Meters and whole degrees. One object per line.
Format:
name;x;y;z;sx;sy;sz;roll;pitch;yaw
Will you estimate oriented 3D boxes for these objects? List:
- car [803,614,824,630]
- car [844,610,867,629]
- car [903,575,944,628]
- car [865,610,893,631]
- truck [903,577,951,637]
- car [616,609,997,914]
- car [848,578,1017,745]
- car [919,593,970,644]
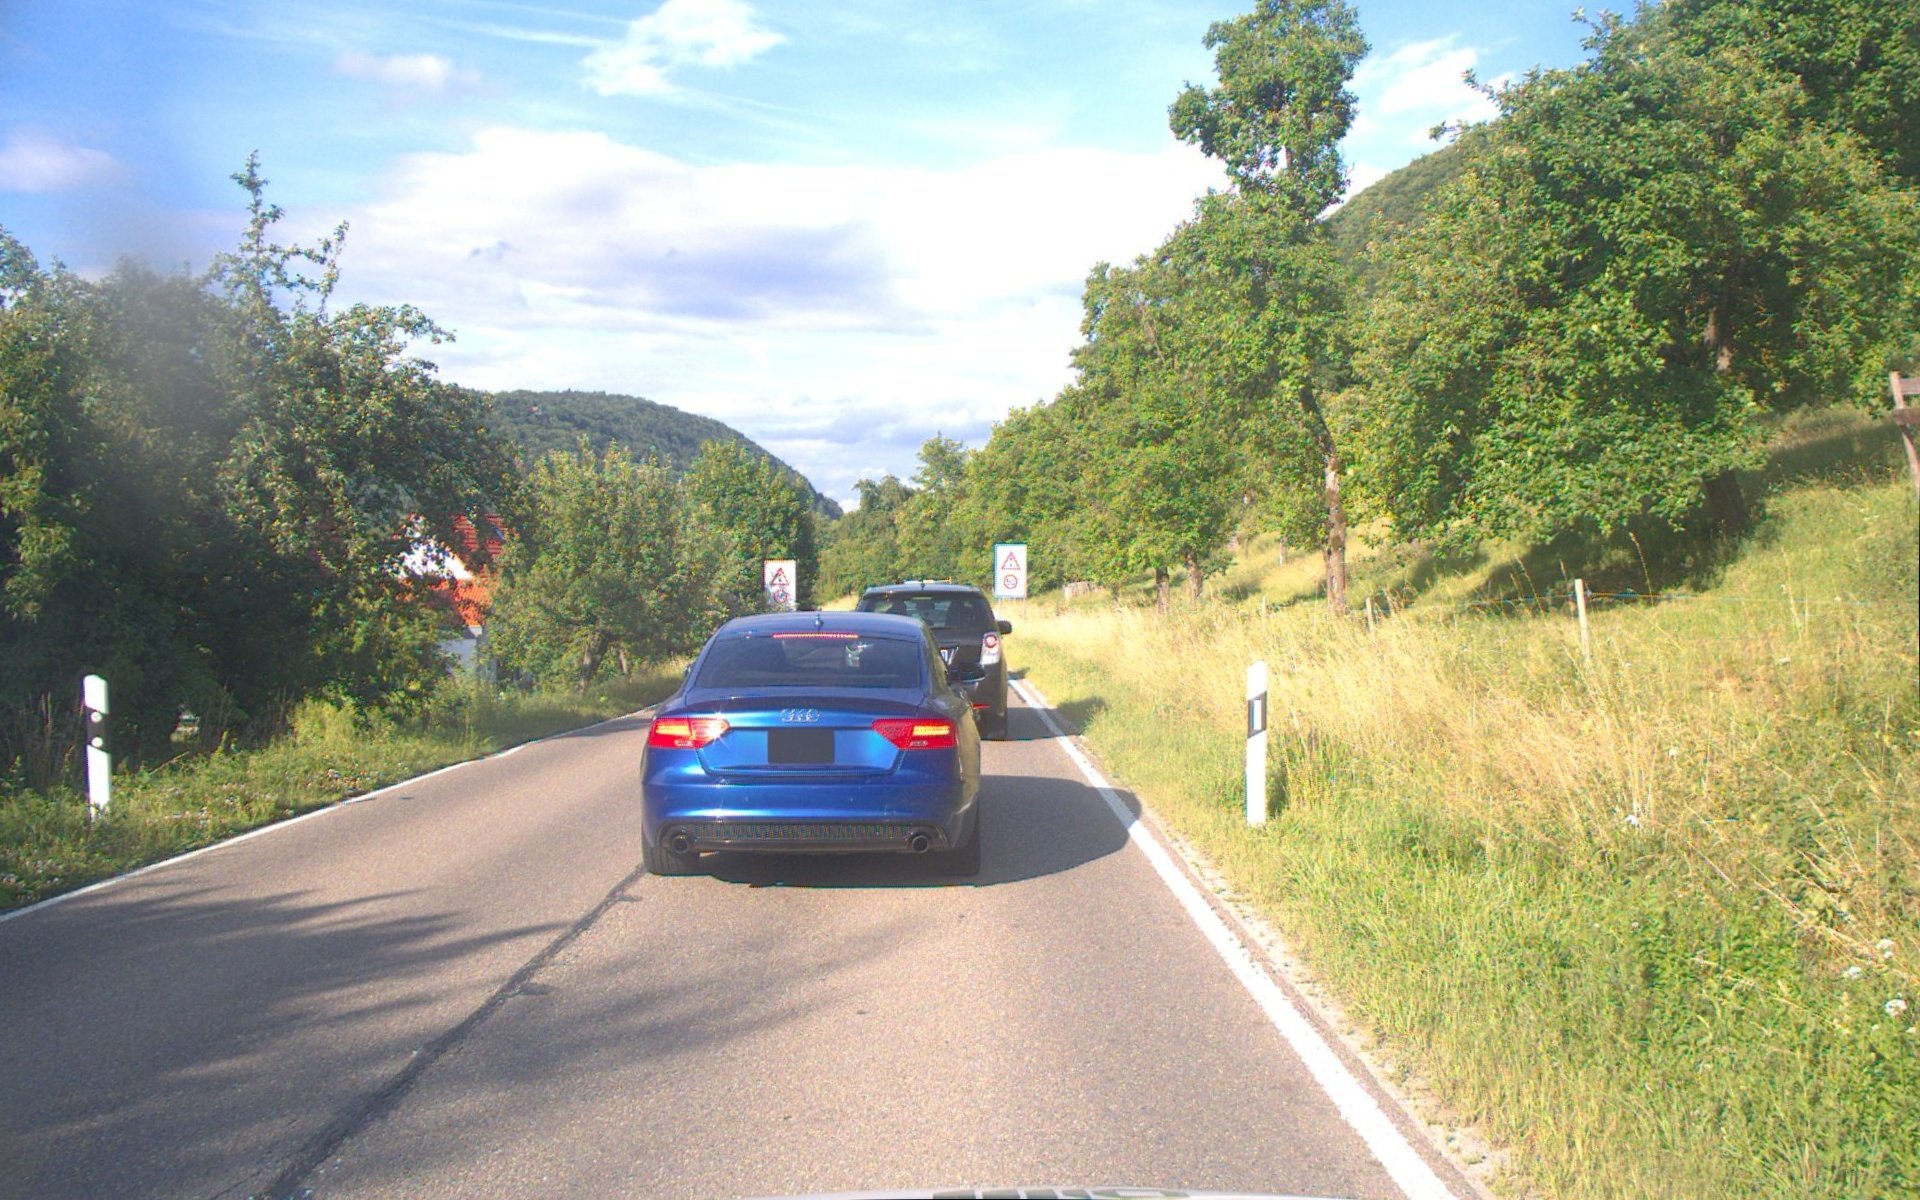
car;-14.861;2.231;167.506;1.532;1.522;3.765;2;0;-13
car;-8.818;1.656;139.503;1.530;1.522;3.770;2;0;-9
car;-1.814;0.071;80.732;1.756;2.496;3.916;2;0;-4
car;-6.136;1.545;124.733;1.715;1.522;3.771;2;0;-8
truck;-1.438;0.286;70.539;1.910;2.386;5.092;2;0;-2
car;-0.725;0.761;9.788;1.769;1.406;4.214;0;0;0
car;-0.303;0.600;18.230;1.658;1.652;3.788;0;0;-1
car;-0.545;0.609;55.922;1.658;1.652;3.788;0;0;-1
